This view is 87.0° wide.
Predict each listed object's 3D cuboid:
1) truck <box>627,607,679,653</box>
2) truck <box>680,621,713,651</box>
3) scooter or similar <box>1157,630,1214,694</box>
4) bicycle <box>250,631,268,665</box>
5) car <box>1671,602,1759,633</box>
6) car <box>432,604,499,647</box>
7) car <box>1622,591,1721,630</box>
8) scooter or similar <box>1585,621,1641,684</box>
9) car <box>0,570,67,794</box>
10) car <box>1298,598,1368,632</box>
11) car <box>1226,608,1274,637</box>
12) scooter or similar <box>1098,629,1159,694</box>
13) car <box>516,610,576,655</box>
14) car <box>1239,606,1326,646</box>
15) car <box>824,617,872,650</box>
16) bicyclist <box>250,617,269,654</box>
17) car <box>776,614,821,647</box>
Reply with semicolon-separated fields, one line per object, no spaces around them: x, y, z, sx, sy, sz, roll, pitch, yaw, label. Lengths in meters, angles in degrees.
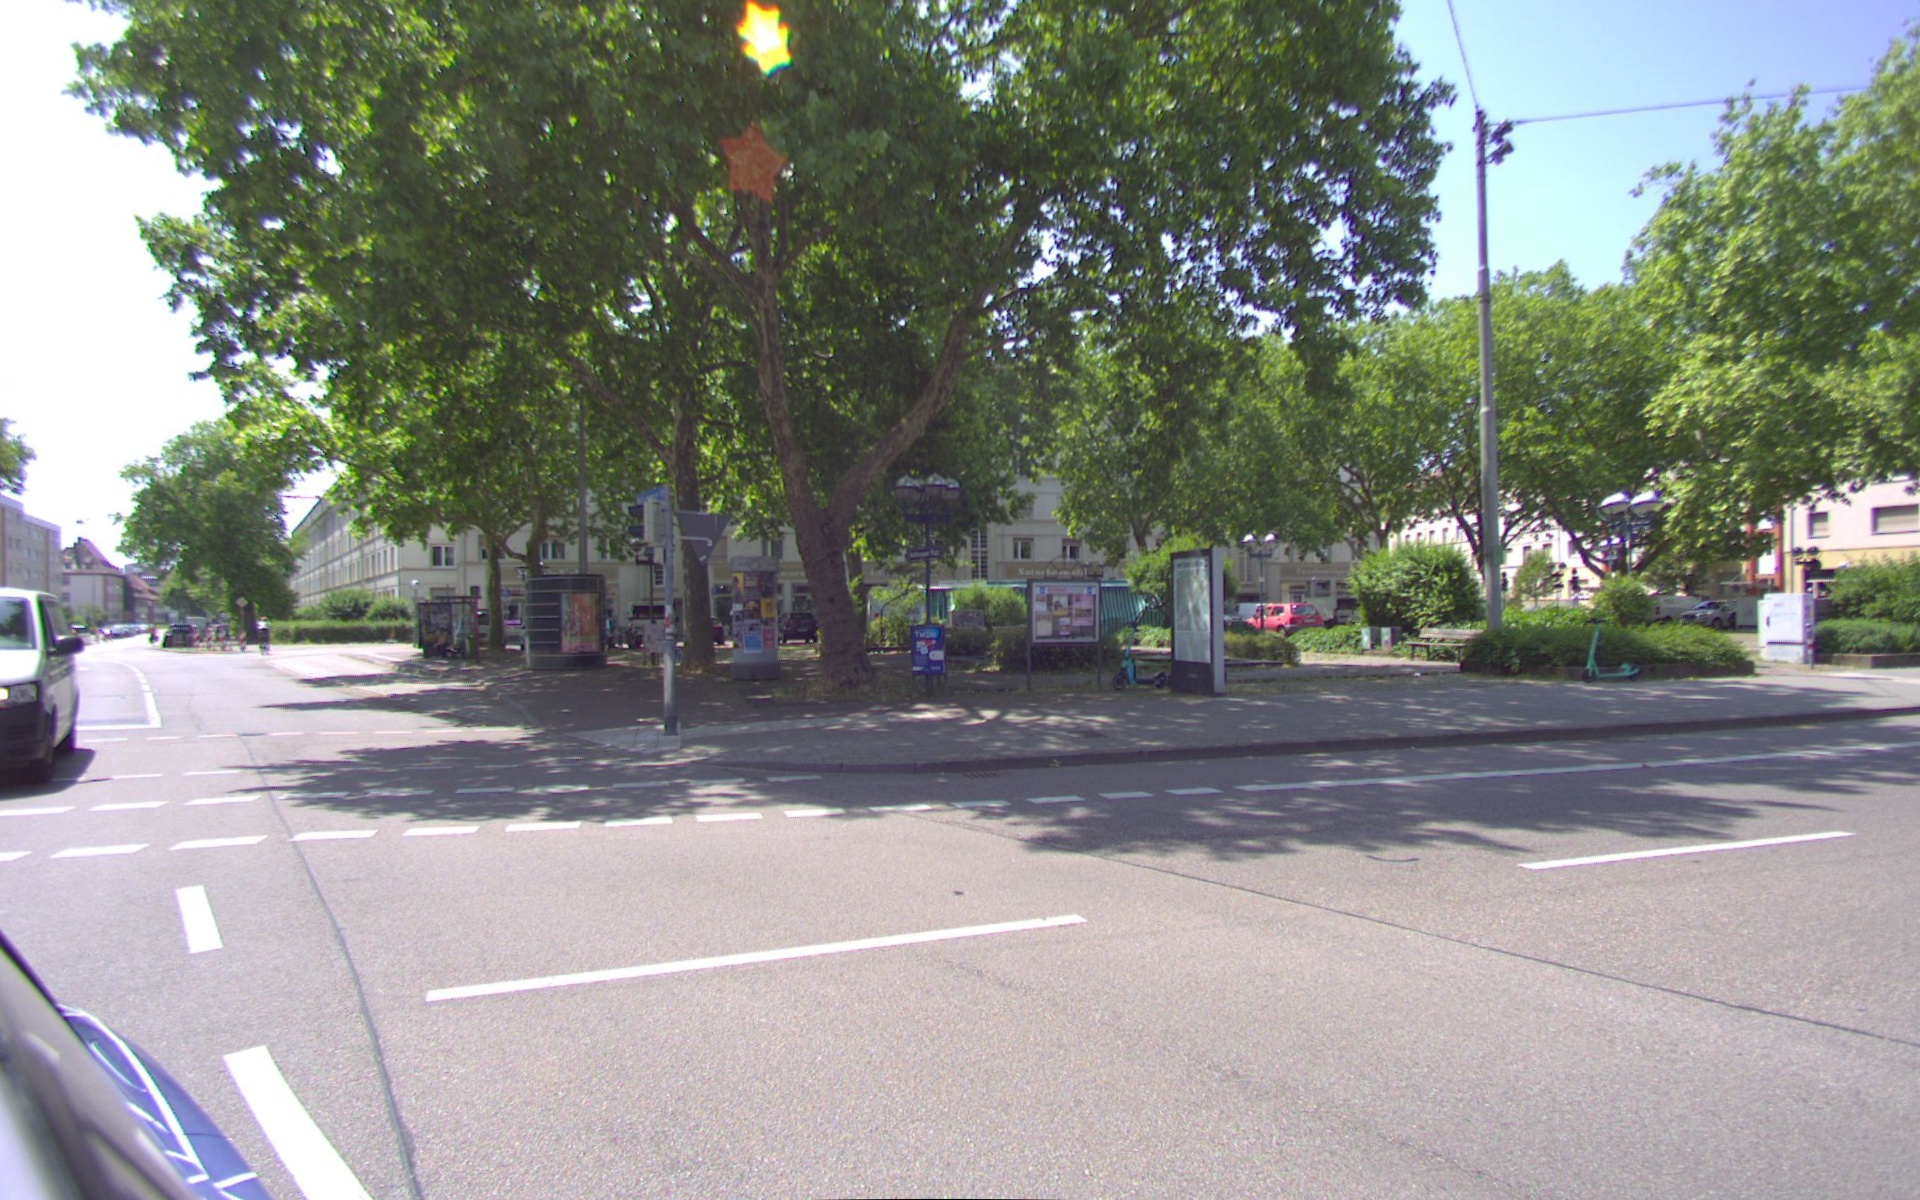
-15.196;1.456;50.322;1.933;2.138;4.382;0;0;-10;truck
-13.211;1.780;50.661;1.444;1.388;2.991;0;0;-18;truck
4.067;1.109;18.292;0.962;1.129;0.257;-1;0;-4;scooter or similar
-33.901;2.300;48.973;0.587;1.566;1.848;0;0;-31;bicycle
39.256;0.895;52.619;3.783;1.499;1.929;-1;-1;-21;car
-23.375;1.210;47.975;1.967;1.913;4.010;-1;-1;-12;car
39.042;0.582;55.527;5.019;2.005;1.929;-1;-1;-21;car
11.867;0.945;18.400;0.847;1.129;0.257;-1;0;-4;scooter or similar
-10.498;0.852;10.385;1.824;1.968;4.951;0;-3;-40;car
22.439;0.894;61.049;2.130;1.964;4.010;0;0;-13;car
20.639;1.556;72.146;1.547;1.964;3.937;0;0;-13;car
3.031;1.099;18.230;1.021;1.129;0.257;-1;-1;-4;scooter or similar
-19.970;1.544;48.982;1.967;2.029;4.010;0;0;-12;car
12.037;0.946;37.951;1.447;1.394;3.355;0;0;-17;car
-5.866;1.711;52.490;1.902;1.613;4.011;-1;-1;-15;car
-33.948;1.725;49.024;0.693;1.748;0.790;0;0;-31;bicyclist
-8.404;1.574;52.505;1.902;1.613;4.011;-1;-1;-15;car
